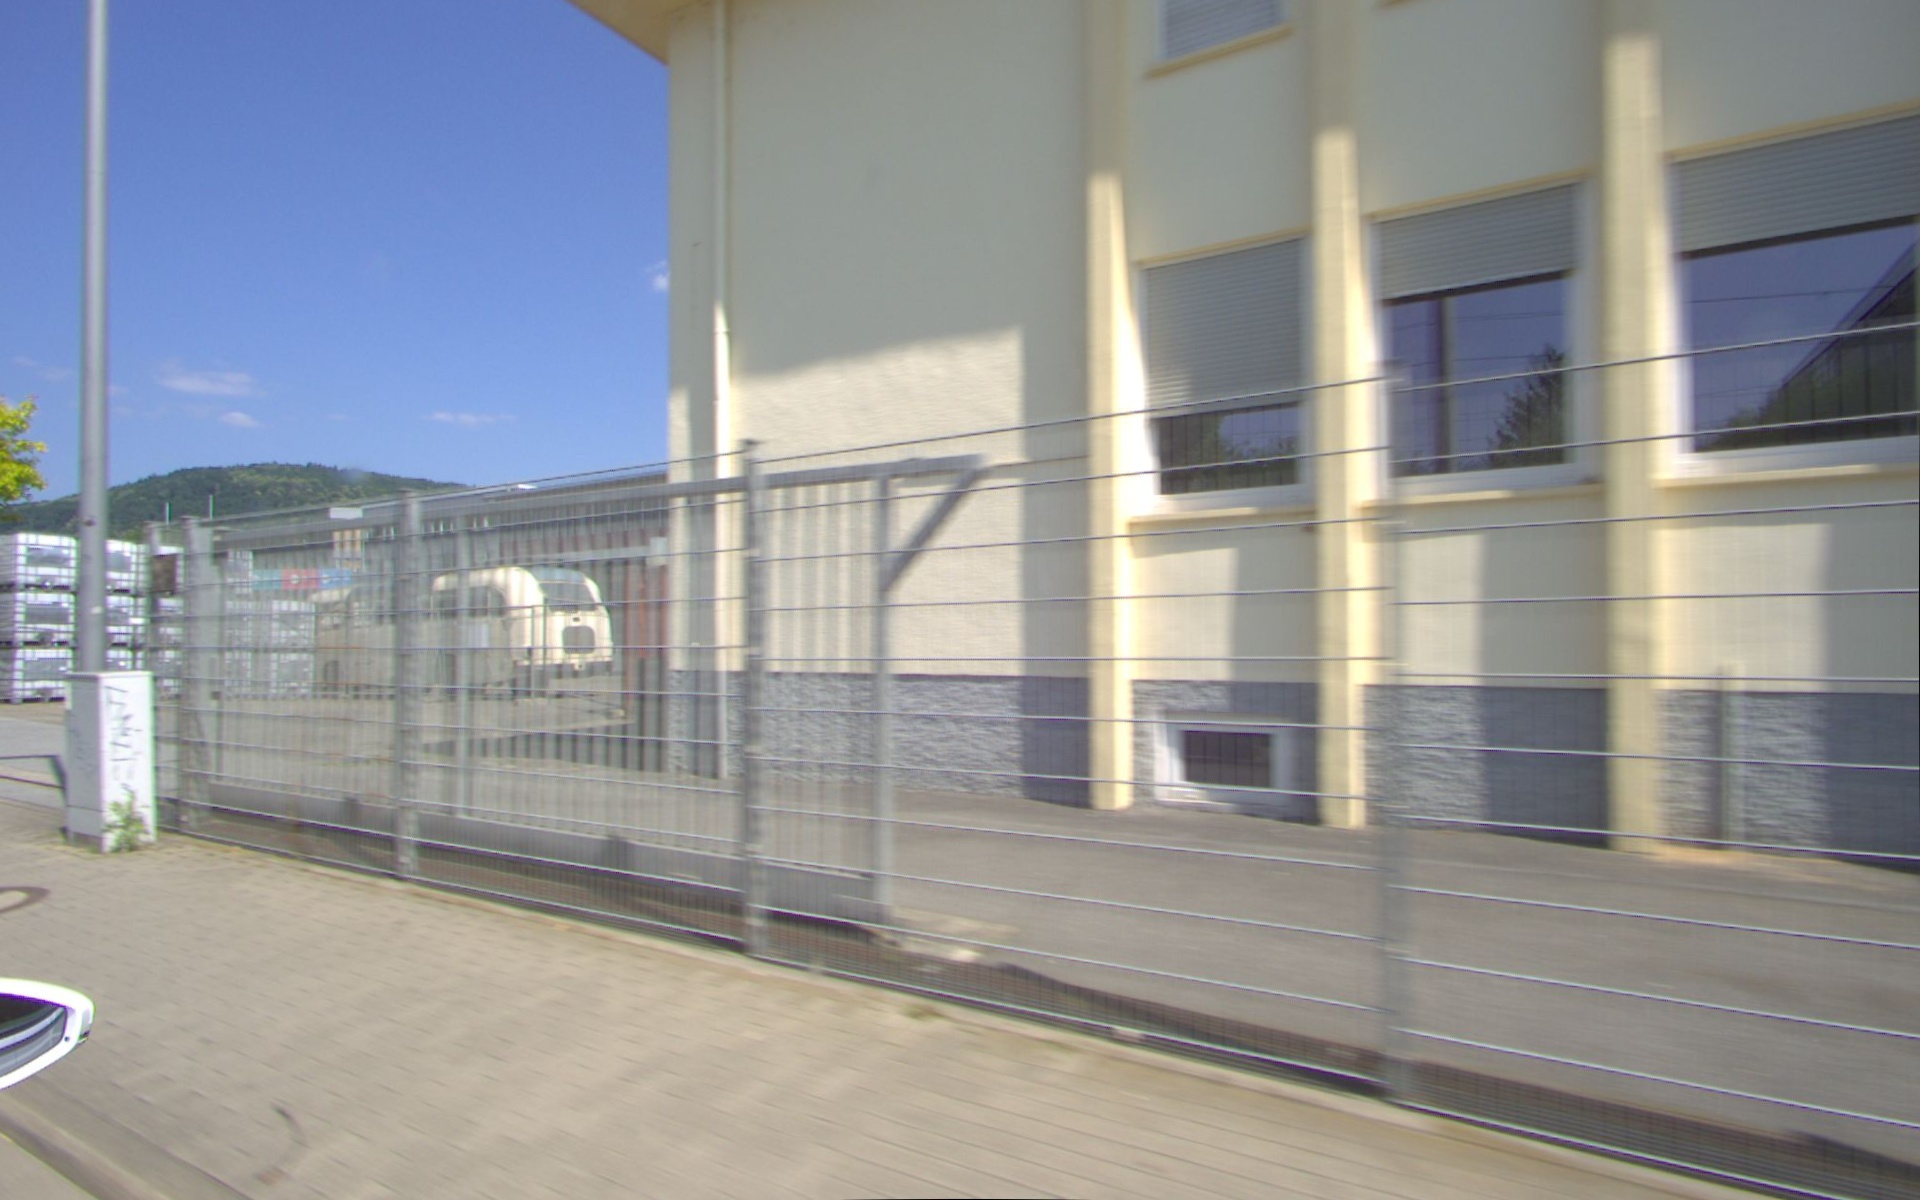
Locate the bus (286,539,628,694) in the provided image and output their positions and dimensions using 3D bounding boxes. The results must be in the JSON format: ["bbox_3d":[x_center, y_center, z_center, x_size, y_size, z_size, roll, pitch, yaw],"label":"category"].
[{"bbox_3d":[-12.595,0.567,24.526,10.122,3.211,2.562,-3,-2,32],"label":"bus"}]
